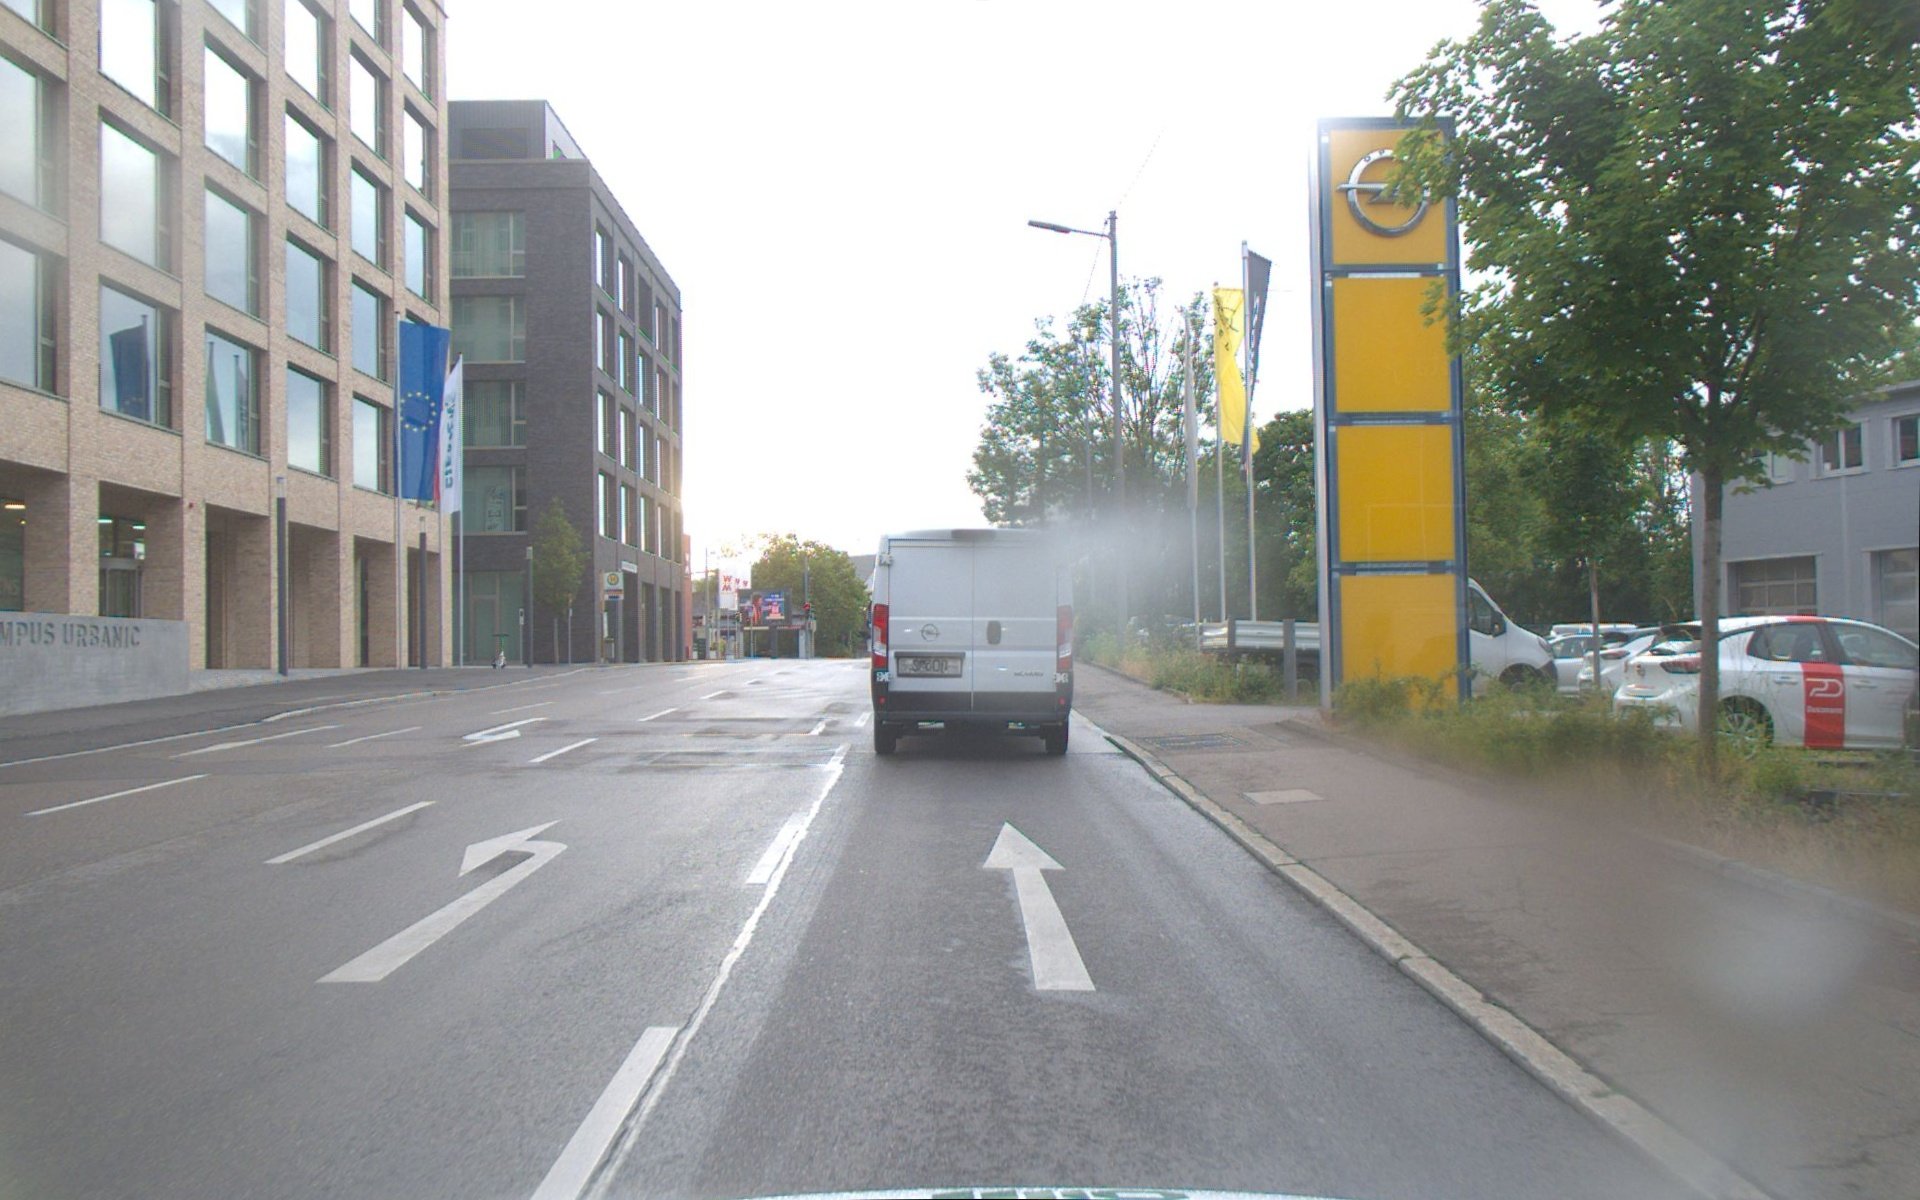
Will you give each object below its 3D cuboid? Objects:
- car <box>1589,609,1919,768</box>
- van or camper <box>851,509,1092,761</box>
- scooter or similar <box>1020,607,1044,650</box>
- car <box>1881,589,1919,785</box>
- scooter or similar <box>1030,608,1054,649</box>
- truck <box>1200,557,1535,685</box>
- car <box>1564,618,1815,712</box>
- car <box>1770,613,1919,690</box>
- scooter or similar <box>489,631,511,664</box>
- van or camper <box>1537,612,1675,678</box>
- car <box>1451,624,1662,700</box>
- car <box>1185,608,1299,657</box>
[{"bbox_3d":[8.591,0.834,16.500,3.905,1.453,1.895,-1,0,0],"label":"car"},{"bbox_3d":[0.112,0.327,18.319,2.292,2.398,5.199,0,0,0],"label":"van or camper"},{"bbox_3d":[2.779,1.095,64.097,0.428,1.615,1.264,0,0,-23],"label":"scooter or similar"},{"bbox_3d":[9.105,0.638,11.961,3.905,1.456,1.747,0,-3,-1],"label":"car"},{"bbox_3d":[3.187,1.107,64.280,0.428,1.592,1.264,0,0,-22],"label":"scooter or similar"},{"bbox_3d":[6.753,0.329,27.830,5.045,2.049,2.344,0,0,-3],"label":"truck"},{"bbox_3d":[12.449,1.096,28.350,3.615,1.546,1.557,0,-1,0],"label":"car"},{"bbox_3d":[22.012,1.216,40.318,3.928,1.629,1.830,-3,0,-20],"label":"car"},{"bbox_3d":[-15.557,1.612,55.981,0.343,1.090,1.428,0,-2,0],"label":"scooter or similar"},{"bbox_3d":[19.363,1.307,49.876,1.953,1.819,5.615,0,0,0],"label":"van or camper"},{"bbox_3d":[11.807,1.212,32.889,3.614,1.443,1.630,0,-1,2],"label":"car"},{"bbox_3d":[10.893,1.244,64.037,3.911,1.548,1.801,-5,0,-6],"label":"car"}]
